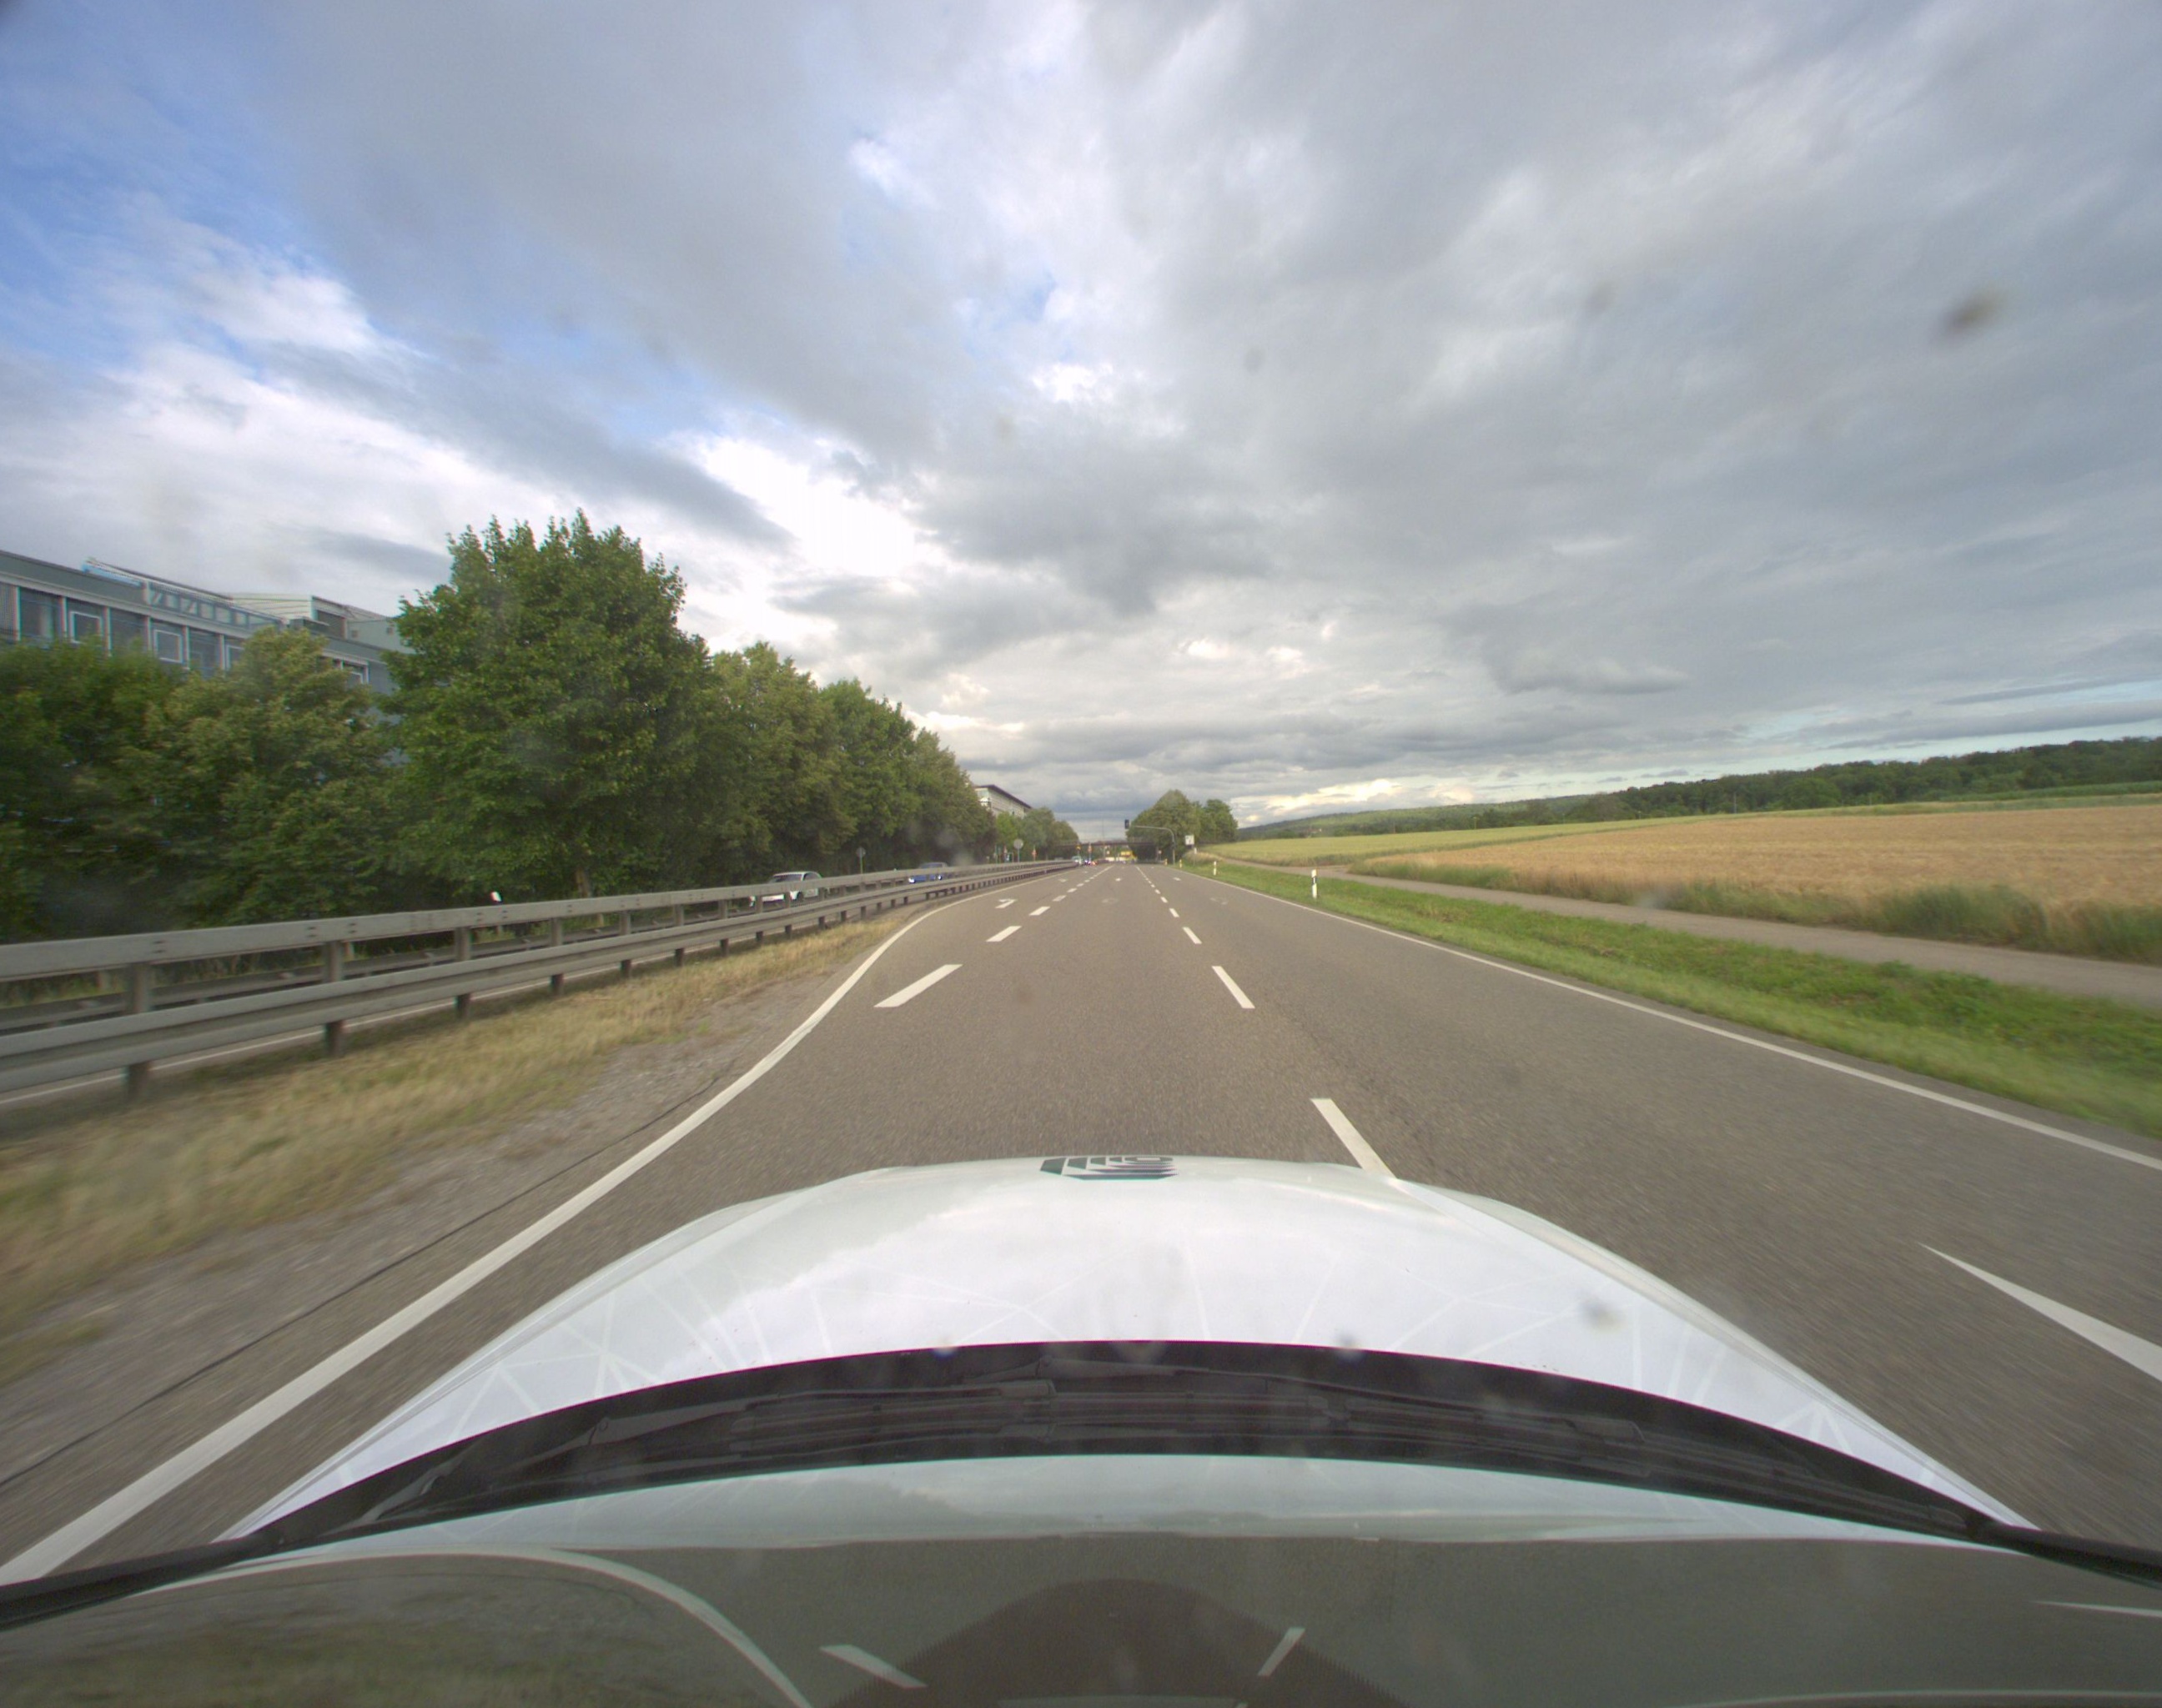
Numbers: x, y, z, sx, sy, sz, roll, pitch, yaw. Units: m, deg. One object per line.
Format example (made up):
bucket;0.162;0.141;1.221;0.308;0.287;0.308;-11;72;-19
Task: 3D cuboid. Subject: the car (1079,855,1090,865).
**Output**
car;0.680;1.212;167.923;1.985;1.873;4.741;-2;0;3

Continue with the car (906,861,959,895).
car;-7.422;1.174;40.994;1.762;1.468;3.715;-2;0;2

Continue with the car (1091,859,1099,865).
car;2.611;1.444;149.826;1.351;1.092;2.925;-2;0;4

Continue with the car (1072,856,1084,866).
car;-0.526;1.296;151.978;1.940;1.873;4.741;-2;0;3

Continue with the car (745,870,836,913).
car;-11.346;1.415;32.132;1.752;1.413;4.462;-2;0;2
